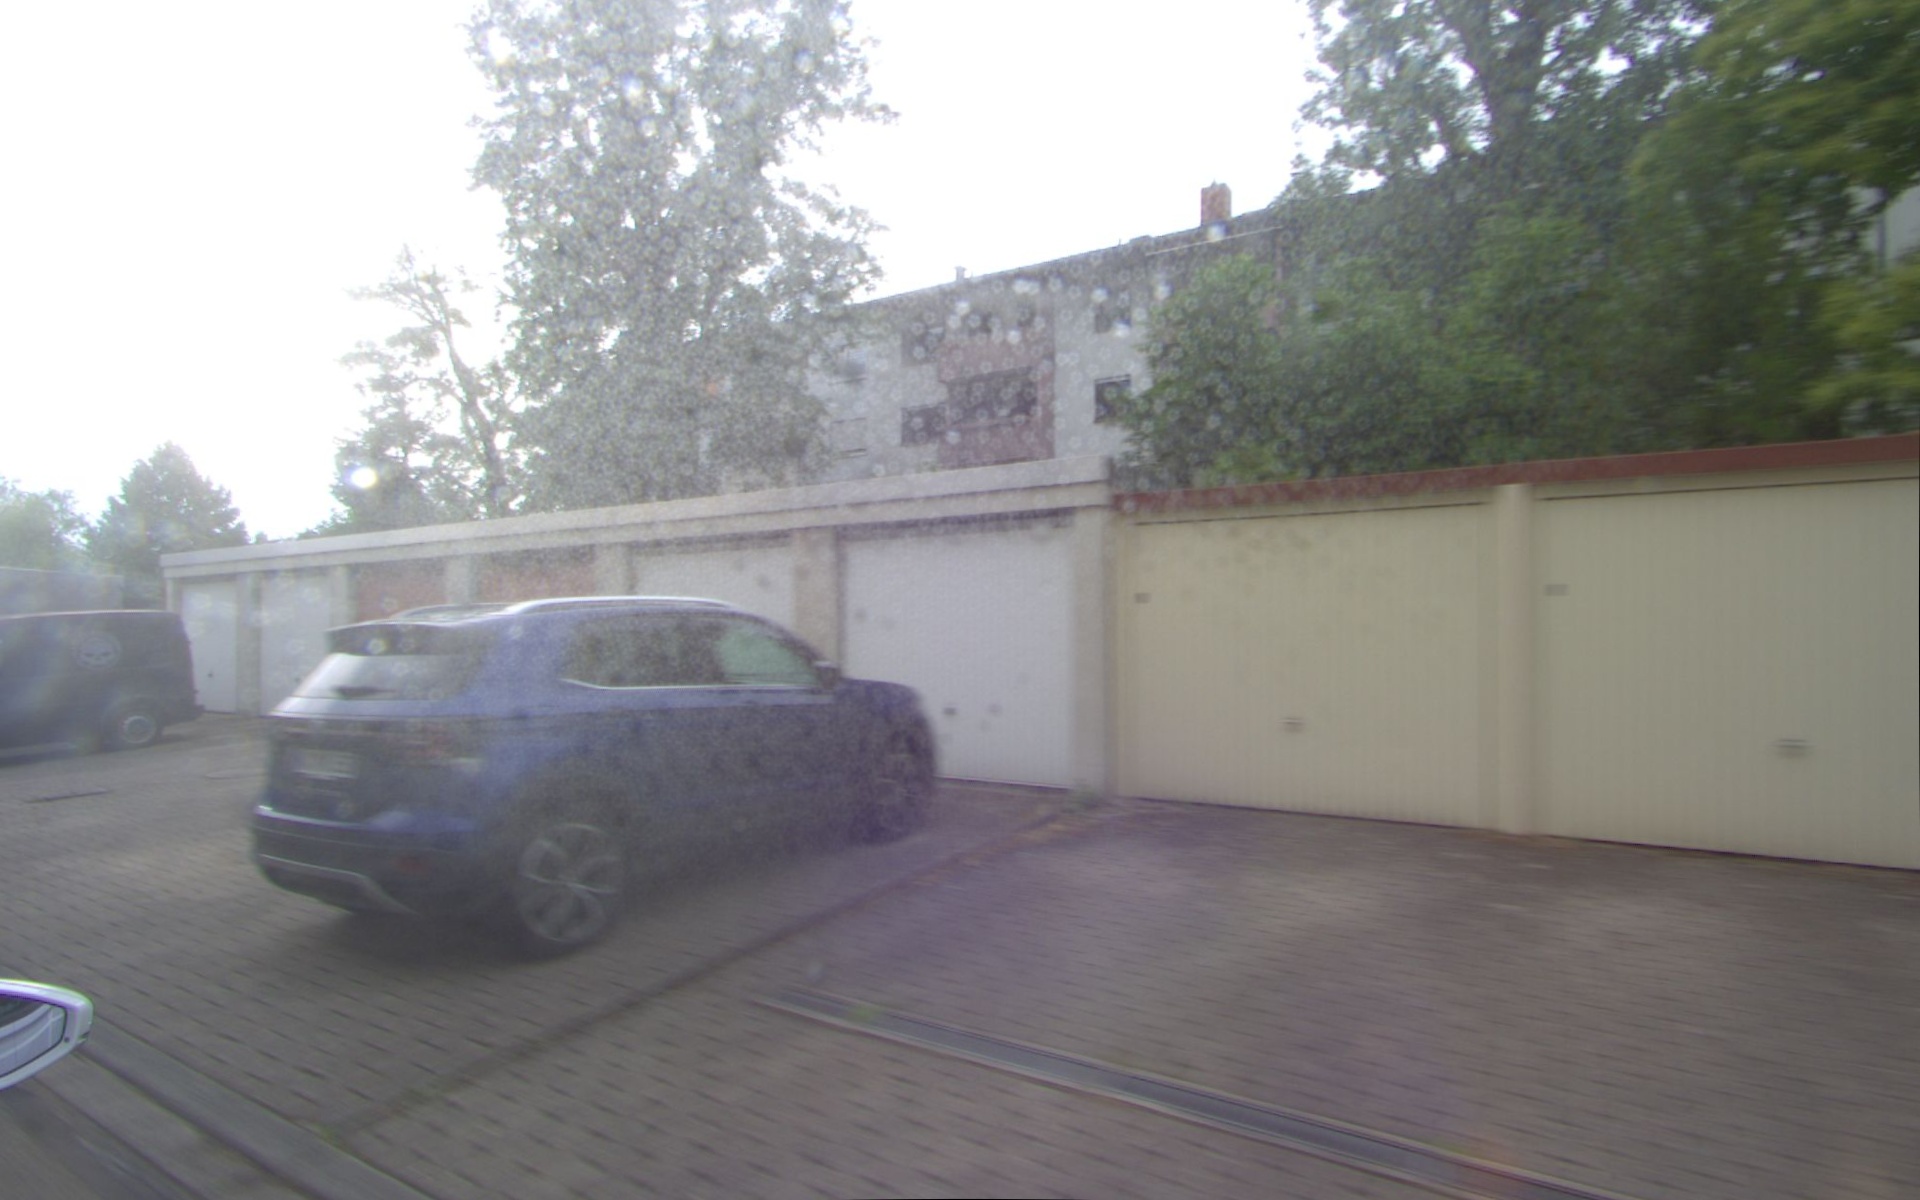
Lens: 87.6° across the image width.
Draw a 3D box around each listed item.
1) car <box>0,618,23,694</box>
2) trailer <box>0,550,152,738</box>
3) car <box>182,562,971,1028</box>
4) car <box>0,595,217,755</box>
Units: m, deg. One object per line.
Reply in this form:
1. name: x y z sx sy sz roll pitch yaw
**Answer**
1. car: -22.336 1.157 20.329 1.961 1.609 4.527 0 -2 34
2. trailer: -14.175 0.585 13.601 1.915 2.557 4.602 0 -2 32
3. car: -1.797 0.712 5.921 1.971 1.726 3.979 0 1 31
4. car: -11.879 0.874 12.039 1.971 1.826 4.302 0 1 31
